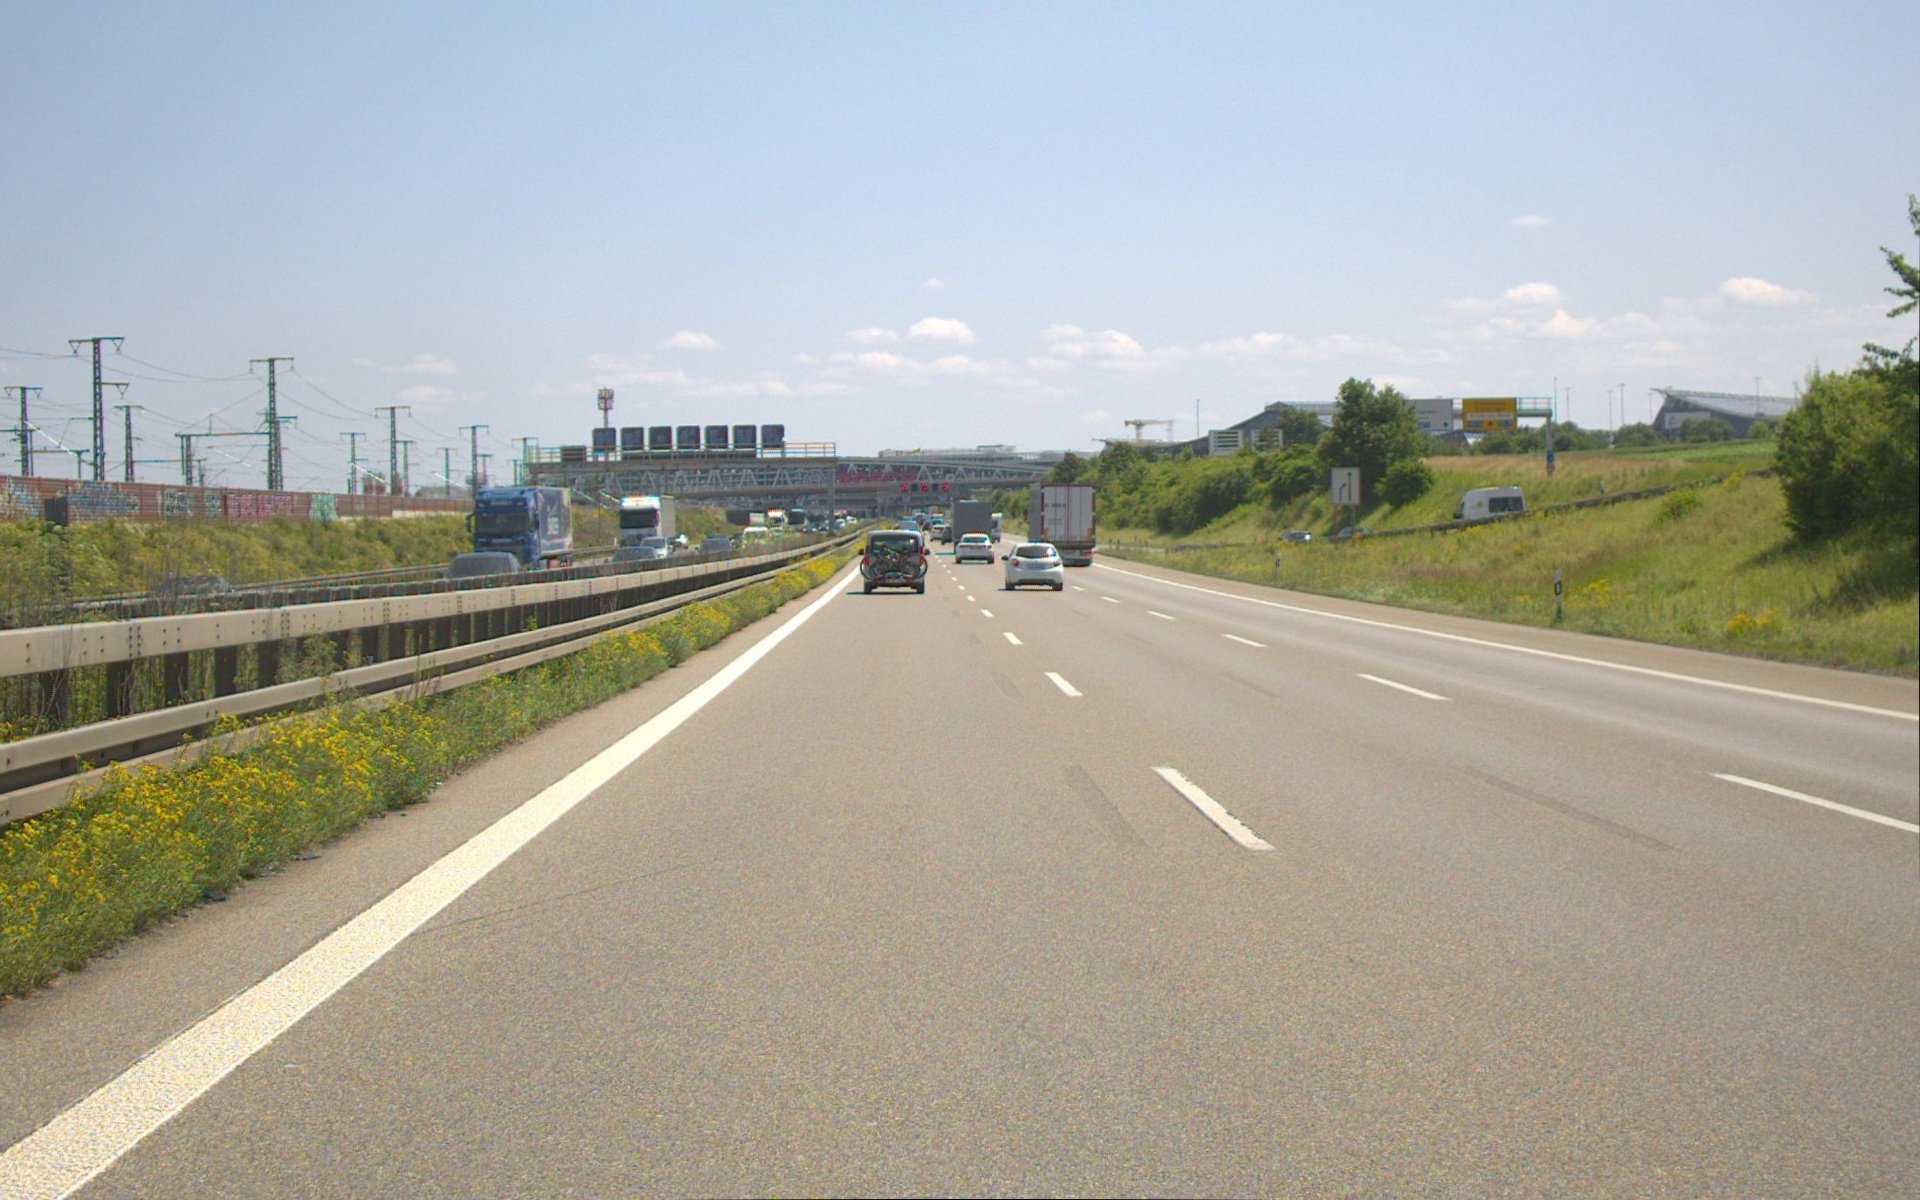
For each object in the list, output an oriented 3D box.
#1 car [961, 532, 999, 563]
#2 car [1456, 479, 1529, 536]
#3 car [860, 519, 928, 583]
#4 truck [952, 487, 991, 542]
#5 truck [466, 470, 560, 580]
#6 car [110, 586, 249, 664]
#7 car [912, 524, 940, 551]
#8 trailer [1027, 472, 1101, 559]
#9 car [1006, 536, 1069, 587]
[{"bbox_3d":[0.997,-2.631,172.953,1.881,1.521,4.000,0,1,0],"label":"car"},{"bbox_3d":[23.877,-4.173,154.418,2.274,2.519,5.400,0,2,-2],"label":"car"},{"bbox_3d":[-1.894,-1.414,99.338,1.880,1.769,4.000,-1,1,-1],"label":"car"},{"bbox_3d":[0.732,-5.360,216.028,2.355,3.404,6.058,0,1,-1],"label":"truck"},{"bbox_3d":[-18.525,-3.139,142.808,2.888,4.392,7.504,-1,1,-1],"label":"truck"},{"bbox_3d":[-16.260,0.502,71.814,1.993,1.482,3.931,-2,1,-1],"label":"car"},{"bbox_3d":[-2.526,-4.611,254.132,1.993,2.007,4.000,0,1,-1],"label":"car"},{"bbox_3d":[5.008,-4.129,167.588,3.177,4.045,9.440,-1,2,-1],"label":"trailer"},{"bbox_3d":[2.406,-1.194,106.383,1.881,1.521,4.000,0,1,2],"label":"car"}]
